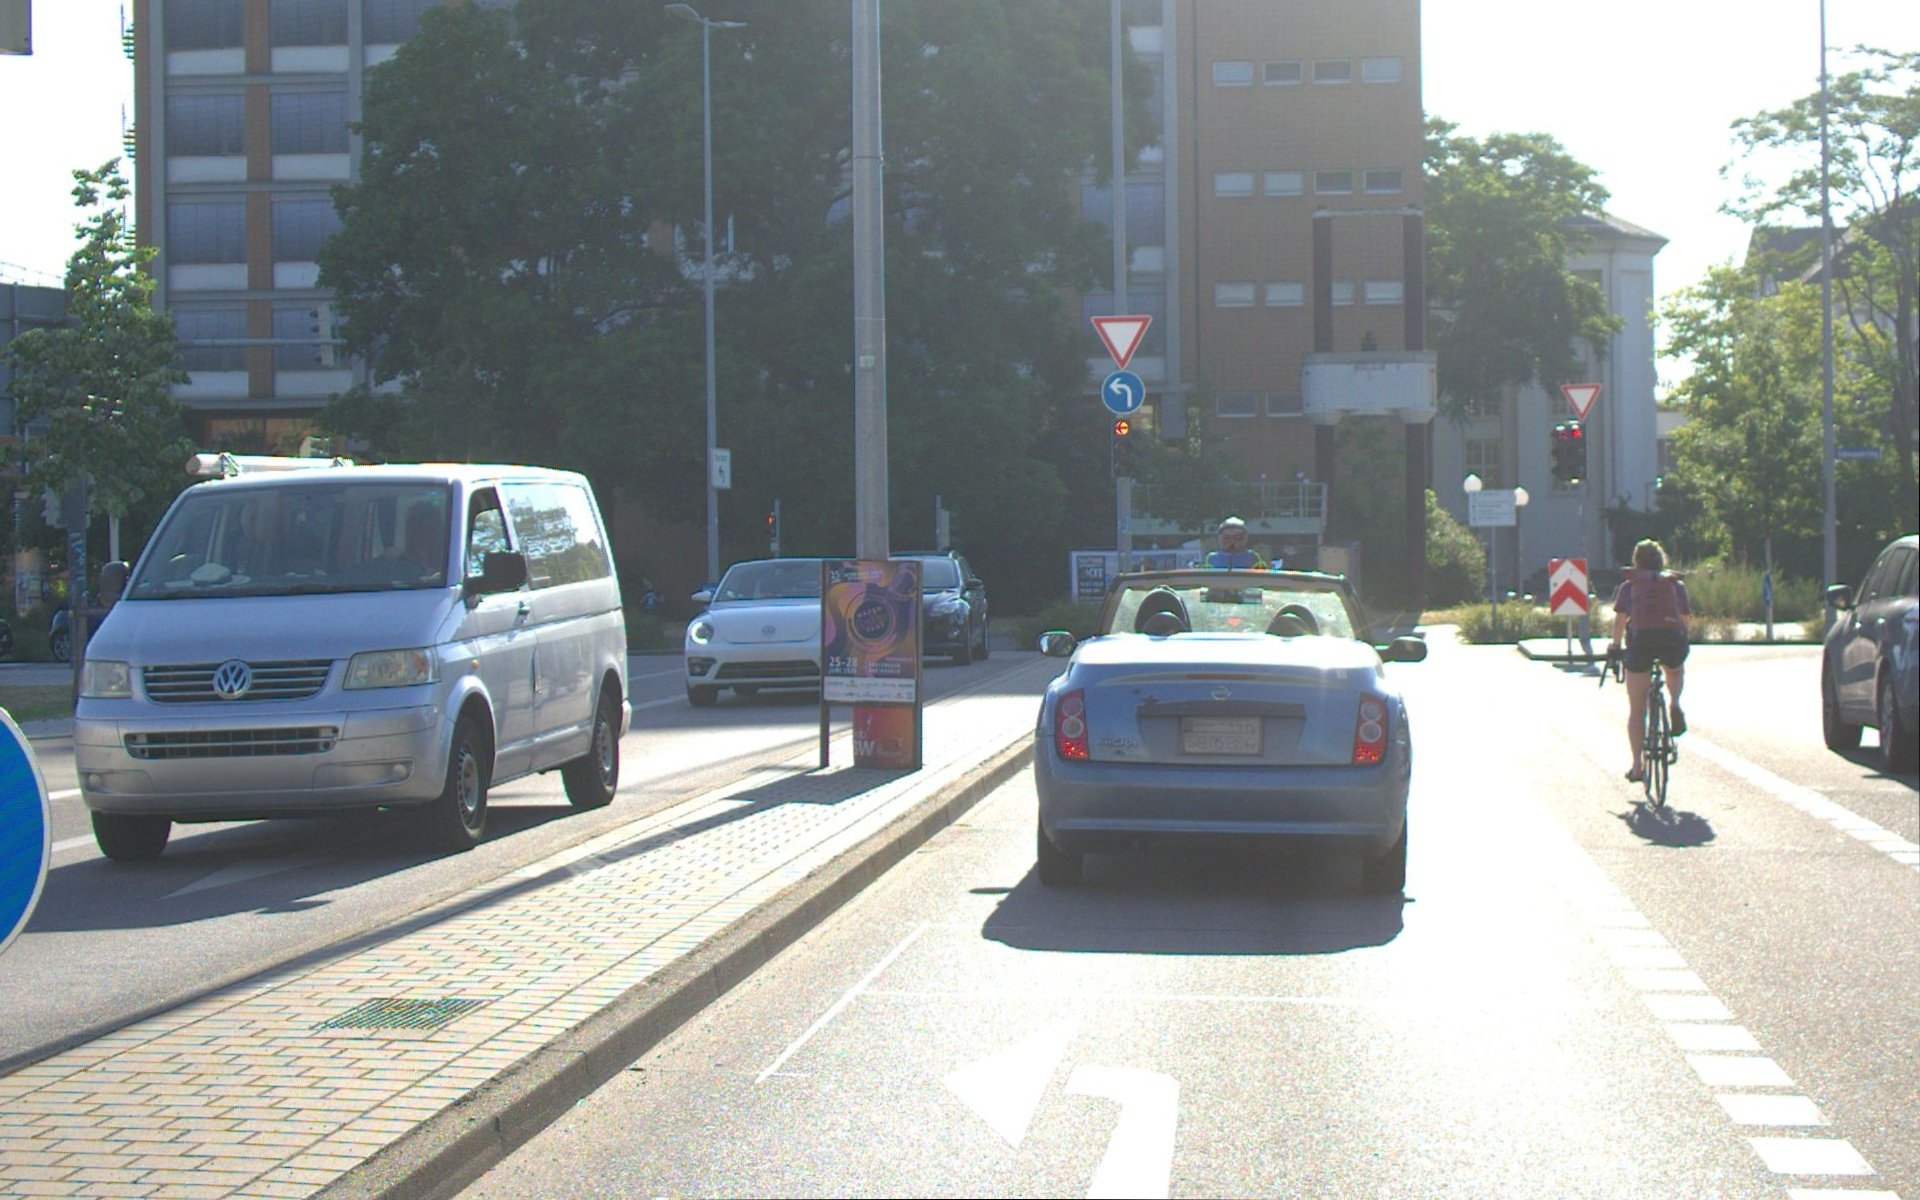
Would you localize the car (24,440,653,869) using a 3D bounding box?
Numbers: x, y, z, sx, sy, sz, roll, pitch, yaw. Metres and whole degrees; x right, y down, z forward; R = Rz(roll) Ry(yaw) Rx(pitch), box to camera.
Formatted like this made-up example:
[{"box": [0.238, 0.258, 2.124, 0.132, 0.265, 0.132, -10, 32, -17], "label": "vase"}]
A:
[{"box": [-3.115, 0.228, 18.343, 1.909, 1.938, 4.705, -2, 1, 7], "label": "car"}]

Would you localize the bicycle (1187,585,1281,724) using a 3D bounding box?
[{"box": [2.478, 0.476, 30.928, 0.608, 1.187, 2.413, 1, 0, 10], "label": "bicycle"}]

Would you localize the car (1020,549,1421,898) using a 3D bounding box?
[{"box": [1.247, 0.527, 16.565, 1.660, 1.436, 4.154, 1, 0, 4], "label": "car"}]

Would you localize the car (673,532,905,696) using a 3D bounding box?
[{"box": [-1.668, 0.111, 34.889, 1.799, 1.525, 3.999, -2, 1, 5], "label": "car"}]

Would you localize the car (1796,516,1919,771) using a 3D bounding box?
[{"box": [7.354, 0.311, 24.864, 1.831, 1.683, 4.368, 1, 0, 4], "label": "car"}]

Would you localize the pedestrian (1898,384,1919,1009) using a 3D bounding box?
[{"box": [3.183, 0.283, 10.145, 0.659, 1.862, 0.872, 1, 0, 8], "label": "pedestrian"}]

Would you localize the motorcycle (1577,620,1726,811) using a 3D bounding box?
[{"box": [4.225, 0.674, 21.136, 0.613, 1.094, 2.360, 1, 0, 5], "label": "motorcycle"}]

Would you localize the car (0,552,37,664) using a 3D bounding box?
[{"box": [-18.665, 0.201, 59.097, 5.159, 1.888, 2.243, -1, 1, 26], "label": "car"}]

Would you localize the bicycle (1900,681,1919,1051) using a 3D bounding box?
[{"box": [3.219, 0.839, 10.219, 0.564, 1.147, 1.949, 1, 0, 8], "label": "bicycle"}]

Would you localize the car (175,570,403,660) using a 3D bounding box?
[{"box": [-12.013, 0.272, 61.595, 3.641, 1.555, 1.649, -1, 1, 16], "label": "car"}]

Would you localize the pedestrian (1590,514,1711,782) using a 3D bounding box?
[{"box": [4.225, 0.289, 21.076, 0.588, 1.593, 1.025, 1, 0, 5], "label": "pedestrian"}]

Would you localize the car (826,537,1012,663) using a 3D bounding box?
[{"box": [-0.486, -0.023, 44.855, 1.799, 1.525, 3.999, -2, 1, 8], "label": "car"}]

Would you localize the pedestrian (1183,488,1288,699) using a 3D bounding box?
[{"box": [2.492, -0.060, 30.984, 0.833, 1.862, 0.920, 1, 0, 10], "label": "pedestrian"}]
